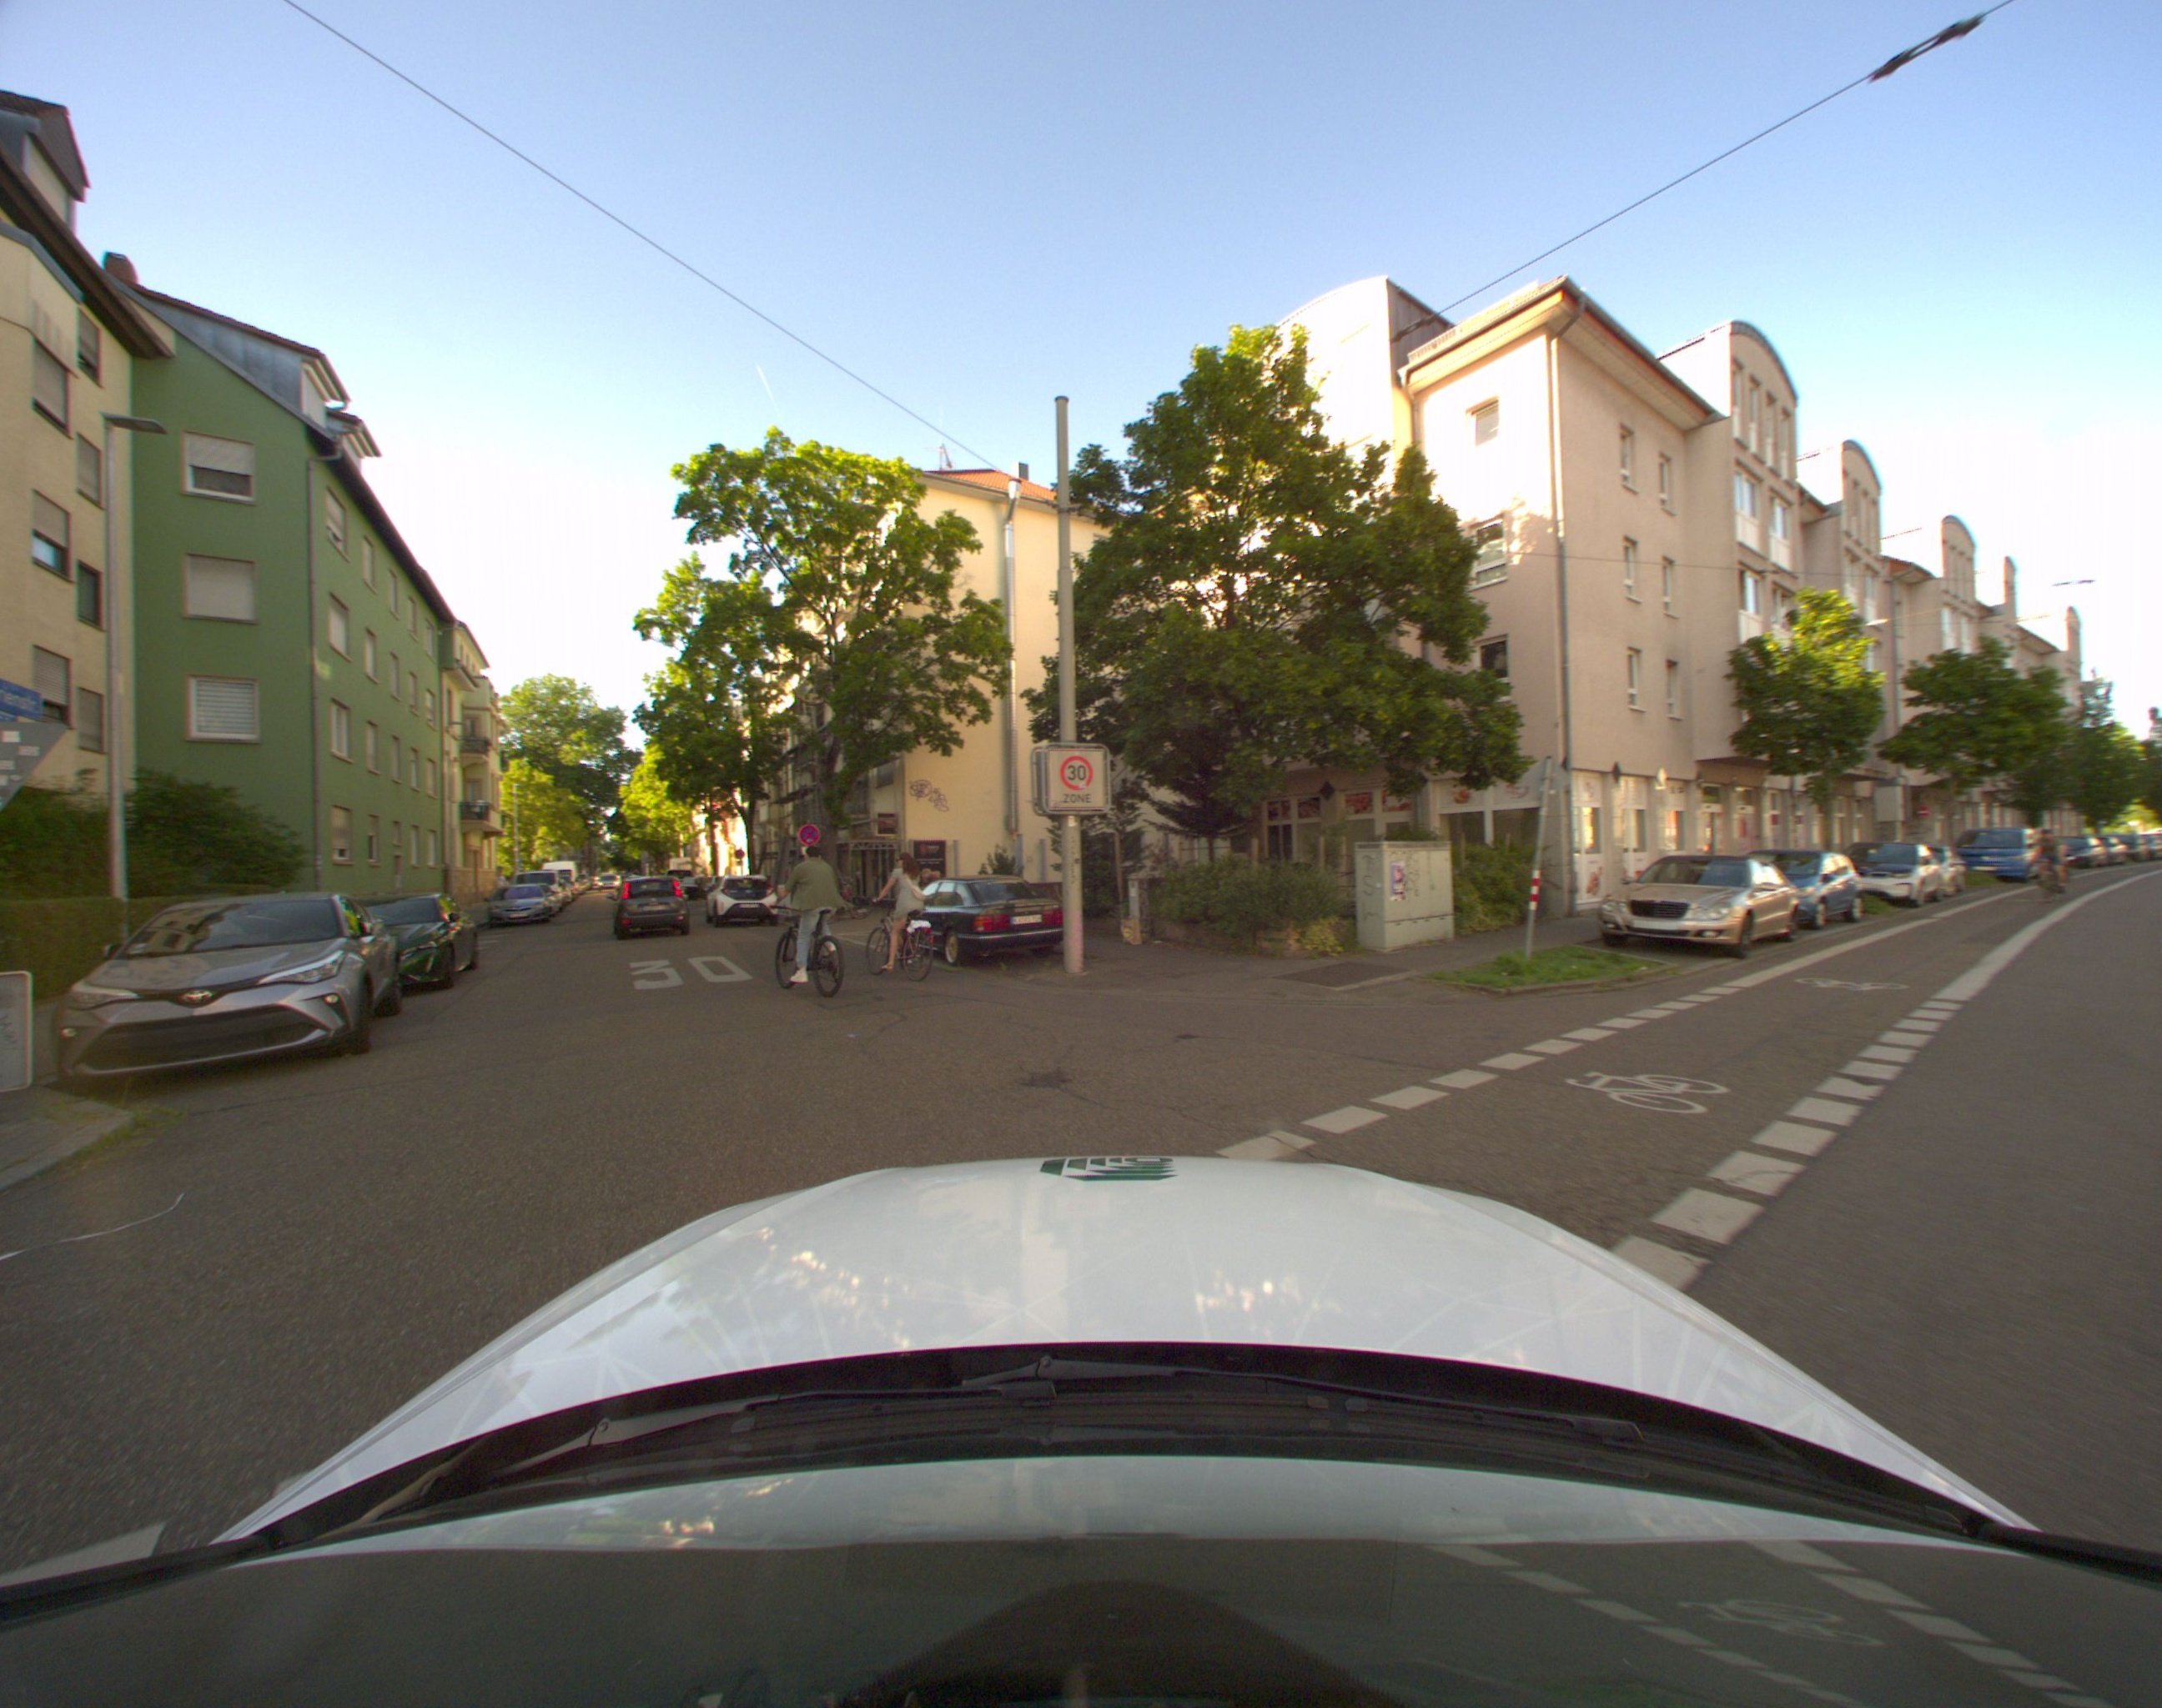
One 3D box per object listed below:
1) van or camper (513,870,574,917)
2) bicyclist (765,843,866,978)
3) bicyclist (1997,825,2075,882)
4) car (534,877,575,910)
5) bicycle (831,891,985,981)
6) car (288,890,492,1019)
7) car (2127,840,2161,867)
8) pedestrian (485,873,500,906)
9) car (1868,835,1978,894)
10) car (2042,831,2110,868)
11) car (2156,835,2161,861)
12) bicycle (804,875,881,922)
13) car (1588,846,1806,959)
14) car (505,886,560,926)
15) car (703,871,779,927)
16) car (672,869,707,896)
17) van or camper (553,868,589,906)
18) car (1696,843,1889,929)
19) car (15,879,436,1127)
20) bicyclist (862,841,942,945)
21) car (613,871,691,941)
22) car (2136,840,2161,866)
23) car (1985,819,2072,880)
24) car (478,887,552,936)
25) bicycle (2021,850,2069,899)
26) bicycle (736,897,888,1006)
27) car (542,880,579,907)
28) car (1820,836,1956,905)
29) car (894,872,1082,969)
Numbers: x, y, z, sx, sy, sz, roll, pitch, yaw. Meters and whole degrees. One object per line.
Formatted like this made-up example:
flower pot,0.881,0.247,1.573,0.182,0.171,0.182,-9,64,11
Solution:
van or camper,-25.531,1.806,38.832,2.006,2.013,4.864,-2,0,-30
bicyclist,-3.293,0.683,10.091,0.889,1.562,0.858,-1,-4,-39
bicyclist,23.191,-0.003,19.782,1.100,1.330,1.173,-1,-1,-39
car,-29.153,2.154,45.177,1.721,1.684,3.961,-1,-1,-30
bicycle,-2.454,1.126,11.449,2.203,1.150,0.847,-3,-5,36
car,-10.538,1.390,12.742,1.764,1.497,4.093,-3,0,-32
car,62.116,-0.042,47.268,3.205,1.540,1.579,-1,-1,-36
pedestrian,-34.829,2.076,48.171,0.689,1.919,0.611,-1,-1,-36
car,25.257,0.285,24.400,4.019,1.593,1.815,-1,-1,-38
car,46.032,-0.230,37.663,4.016,1.618,1.652,-1,-1,-35
car,70.840,-0.454,52.478,3.714,1.646,1.829,-1,-1,-36
bicycle,-6.931,1.275,23.735,0.717,1.165,1.999,-2,2,42
car,9.760,0.627,12.813,4.019,1.442,1.730,-1,2,-38
car,-22.679,2.113,33.752,1.698,1.453,3.673,-2,0,-32
car,-10.260,1.308,24.445,1.685,1.545,3.370,1,-2,-30
car,-26.684,1.926,55.477,1.698,1.684,3.960,-2,0,-32
van or camper,-36.153,2.307,57.832,2.007,2.553,4.973,-1,-1,-31
car,14.411,0.610,16.454,4.015,1.490,1.816,-1,-3,-33
car,-7.897,1.141,8.055,1.917,1.659,3.958,-3,0,-33
bicyclist,-2.524,0.554,11.500,0.857,1.381,0.629,-7,-5,37
car,-11.028,1.277,20.847,1.567,1.533,3.452,-3,0,-30
car,65.549,-0.077,49.523,3.205,1.540,1.579,-1,-1,-36
car,33.298,-0.161,28.599,4.362,1.987,1.652,-1,-1,-37
car,-20.163,2.006,29.130,1.993,1.455,4.070,-2,0,-33
bicycle,23.262,0.474,19.649,1.970,1.102,0.617,-1,-3,-38
bicycle,-3.421,1.152,10.243,2.204,1.149,0.847,-2,0,44
car,-31.437,2.349,49.245,1.721,1.505,3.961,-1,-1,-30
car,21.059,0.387,21.214,4.017,1.593,1.816,-1,-1,-35
car,-1.811,1.039,14.321,1.718,1.388,4.527,-1,-1,-28
